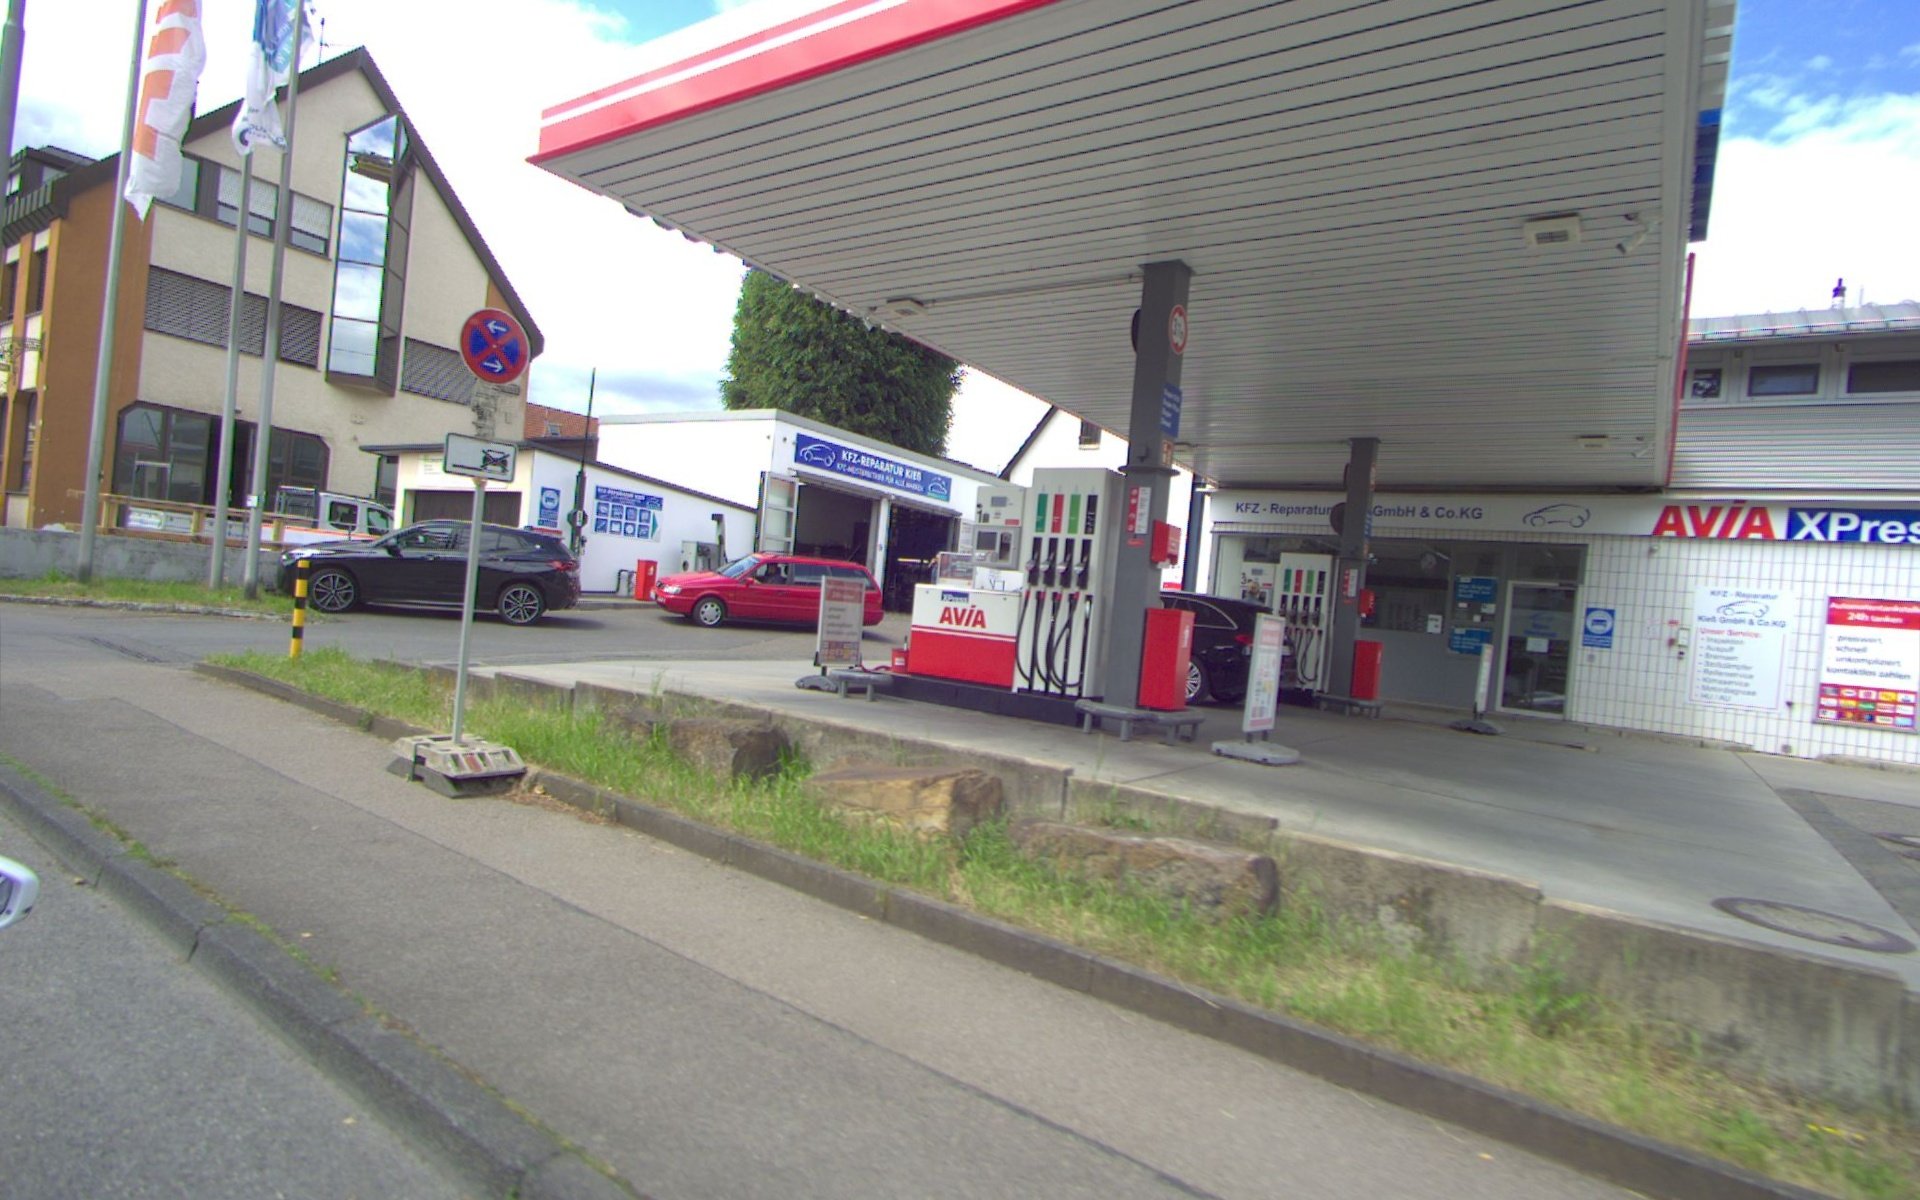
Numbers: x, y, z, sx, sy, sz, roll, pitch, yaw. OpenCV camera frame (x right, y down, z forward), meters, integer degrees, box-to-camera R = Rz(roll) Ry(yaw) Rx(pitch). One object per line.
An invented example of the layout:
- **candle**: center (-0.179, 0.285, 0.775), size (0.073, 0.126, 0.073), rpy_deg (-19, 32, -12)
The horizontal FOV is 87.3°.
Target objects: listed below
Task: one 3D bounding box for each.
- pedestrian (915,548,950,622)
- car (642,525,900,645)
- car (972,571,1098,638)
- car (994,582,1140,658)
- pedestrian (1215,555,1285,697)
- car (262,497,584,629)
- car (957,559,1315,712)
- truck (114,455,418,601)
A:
- **pedestrian**: center (-0.728, -0.383, 26.939), size (0.662, 1.867, 0.685), rpy_deg (6, -1, 5)
- **car**: center (-3.720, -0.280, 19.923), size (4.552, 1.741, 1.810), rpy_deg (6, 5, -28)
- **car**: center (2.379, 0.176, 31.045), size (1.671, 1.583, 3.979), rpy_deg (9, 2, 41)
- **car**: center (2.616, 0.496, 23.978), size (1.596, 1.461, 3.738), rpy_deg (11, 5, 37)
- **pedestrian**: center (4.156, 0.371, 14.450), size (0.578, 1.958, 0.538), rpy_deg (6, -1, -18)
- **car**: center (-8.339, -0.568, 16.063), size (4.255, 1.653, 1.627), rpy_deg (4, 3, -20)
- **car**: center (2.310, 0.437, 13.902), size (4.502, 1.628, 1.630), rpy_deg (5, -1, 37)
- **truck**: center (-15.681, -1.548, 23.039), size (2.319, 2.487, 5.090), rpy_deg (8, 0, 35)
